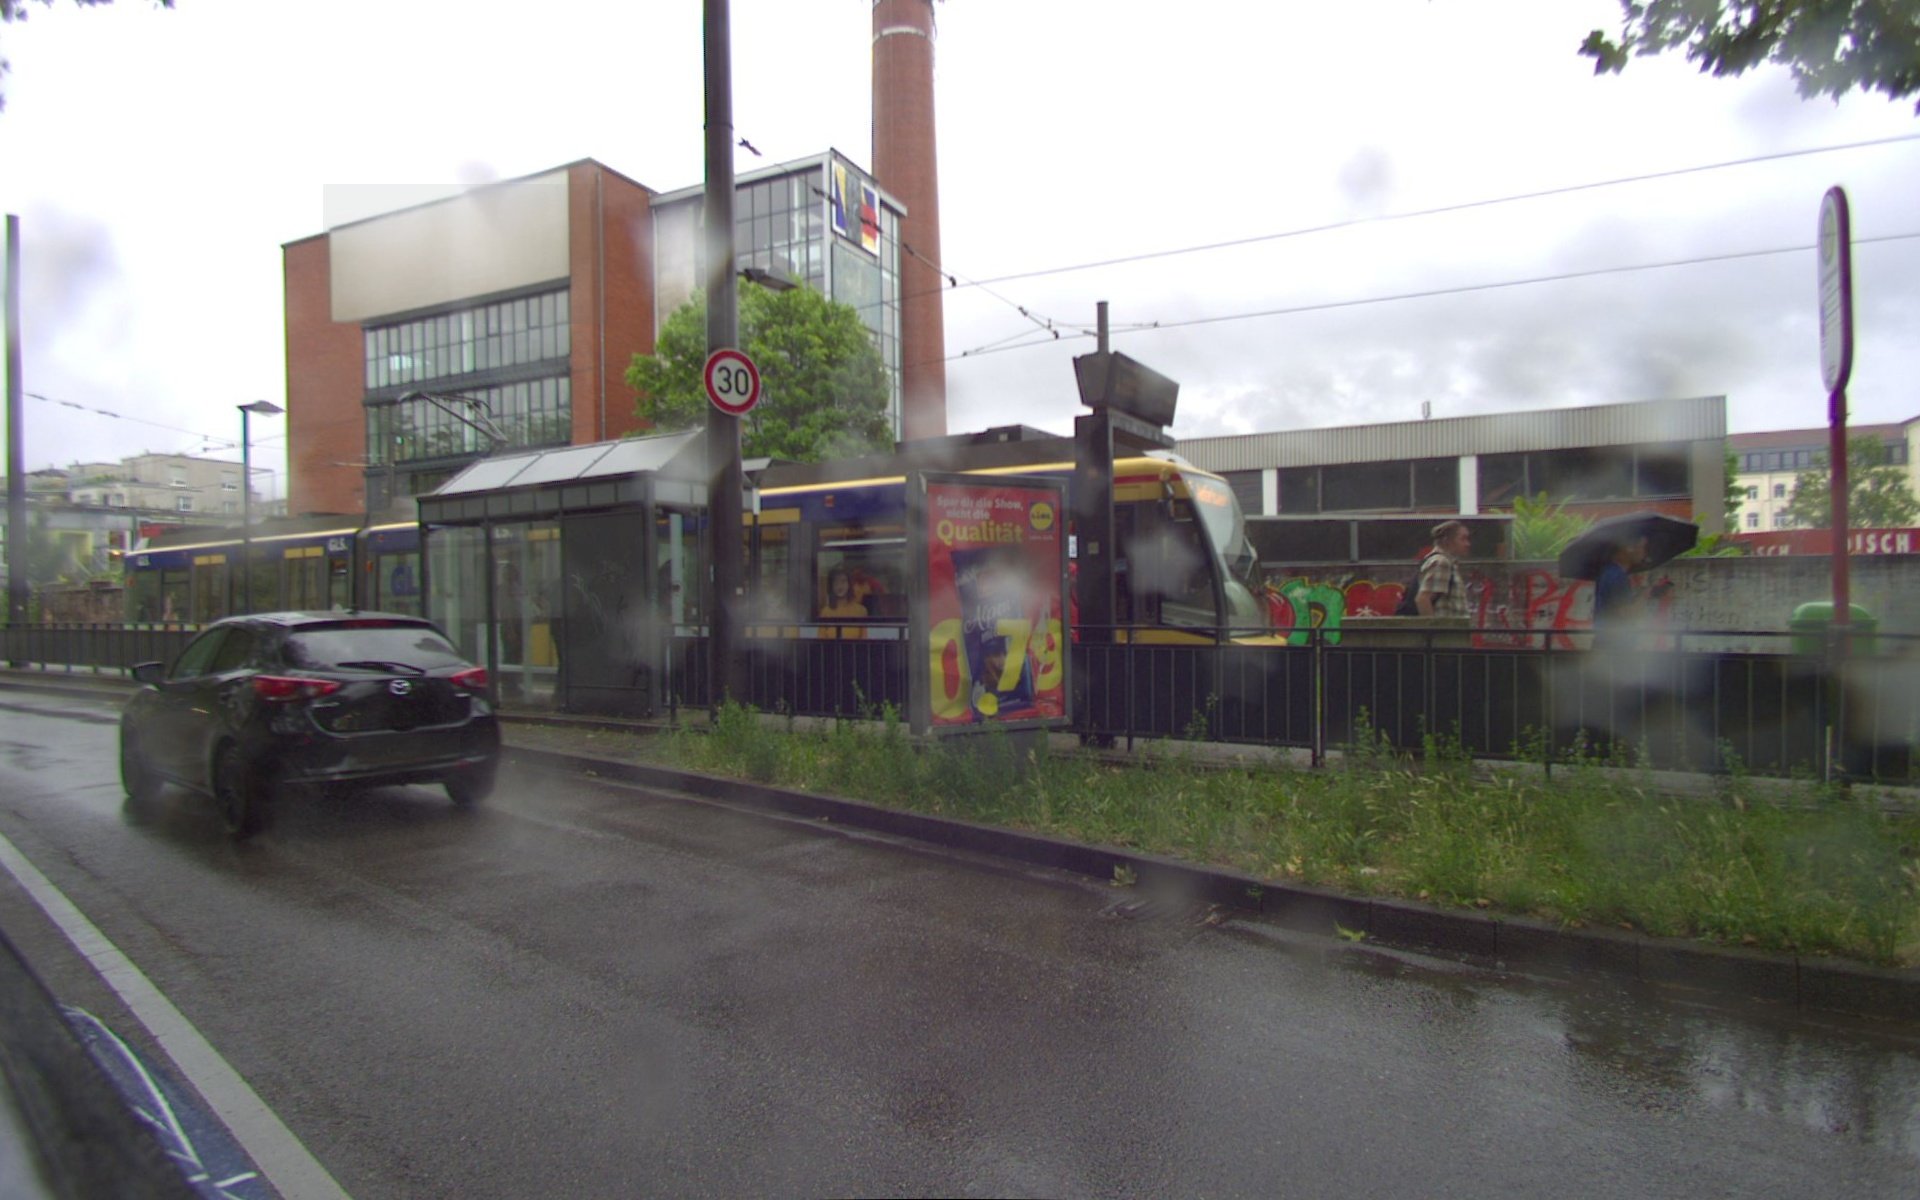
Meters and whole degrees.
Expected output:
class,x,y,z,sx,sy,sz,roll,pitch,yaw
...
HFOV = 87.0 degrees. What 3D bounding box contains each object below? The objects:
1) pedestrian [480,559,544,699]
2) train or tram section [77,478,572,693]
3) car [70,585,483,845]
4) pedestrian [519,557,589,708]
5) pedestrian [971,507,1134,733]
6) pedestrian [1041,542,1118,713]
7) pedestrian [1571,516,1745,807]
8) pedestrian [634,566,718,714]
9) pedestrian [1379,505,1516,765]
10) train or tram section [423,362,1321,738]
class,x,y,z,sx,sy,sz,roll,pitch,yaw
pedestrian,-5.814,0.360,13.129,0.620,1.762,0.515,-1,0,-41
train or tram section,-14.629,-0.128,22.178,15.323,3.572,2.838,-1,0,32
car,-5.761,0.744,8.319,4.232,1.603,1.734,-1,0,40
pedestrian,-4.922,0.378,12.274,0.620,1.762,0.565,-1,0,-41
pedestrian,0.826,0.204,8.934,1.072,1.840,0.975,-4,-4,30
pedestrian,1.149,0.279,9.898,0.651,1.584,0.797,-2,-3,4
pedestrian,4.865,0.400,7.132,0.888,1.878,0.863,-1,0,29
pedestrian,-3.214,0.457,11.477,0.504,1.610,0.790,-4,-4,30
pedestrian,3.588,0.243,7.449,0.827,1.768,0.859,-1,0,28
train or tram section,-2.281,-0.376,14.385,13.666,3.572,2.839,-1,0,31
